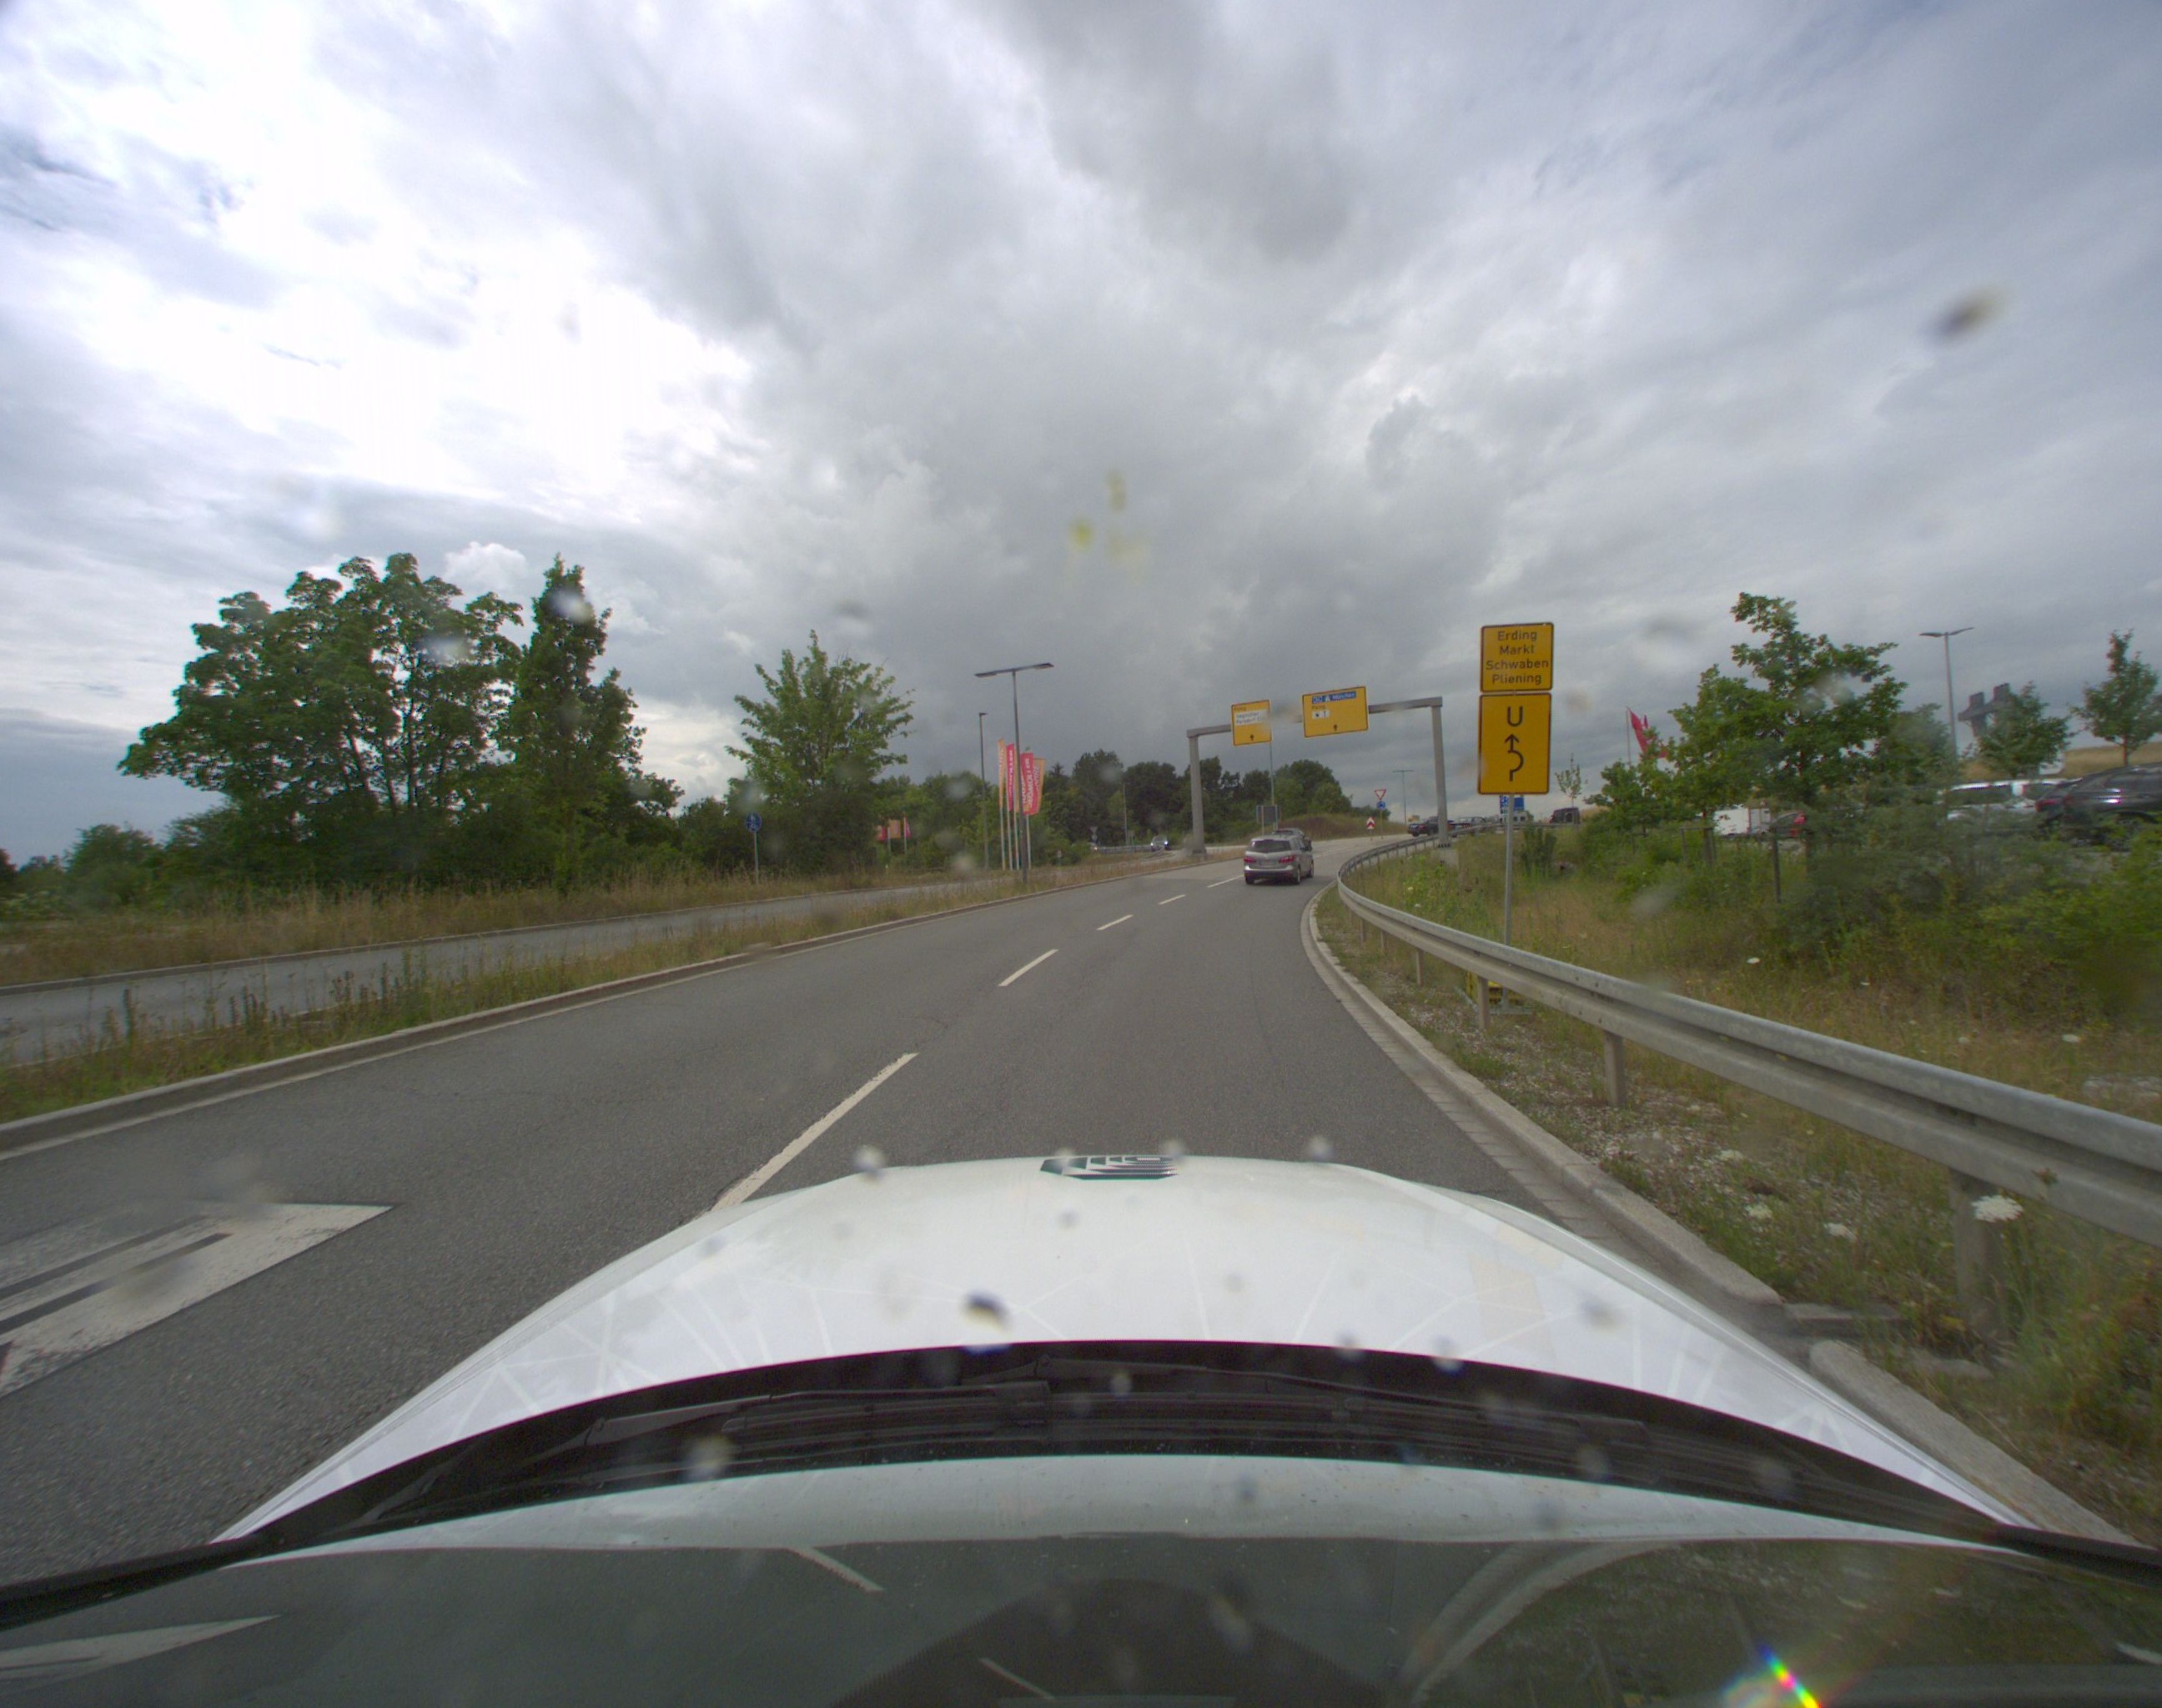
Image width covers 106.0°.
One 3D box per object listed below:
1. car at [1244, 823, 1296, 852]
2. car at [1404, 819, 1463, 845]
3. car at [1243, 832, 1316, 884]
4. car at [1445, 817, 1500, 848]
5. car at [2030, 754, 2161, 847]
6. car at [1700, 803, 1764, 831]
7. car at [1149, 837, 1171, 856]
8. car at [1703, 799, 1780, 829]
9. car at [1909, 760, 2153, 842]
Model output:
[{"bbox_3d":[10.781,-0.952,46.279,1.851,1.605,3.758,1,2,30],"label":"car"},{"bbox_3d":[27.479,-1.699,63.516,4.165,1.783,1.886,-4,0,-26],"label":"car"},{"bbox_3d":[6.775,0.079,27.578,1.751,1.616,3.944,0,2,23],"label":"car"},{"bbox_3d":[25.921,-1.445,53.899,3.977,1.837,1.640,-4,0,-39],"label":"car"},{"bbox_3d":[22.245,-1.186,15.843,1.835,1.734,4.513,-4,-1,-24],"label":"car"},{"bbox_3d":[54.077,-3.029,67.725,3.998,2.013,1.806,-3,0,36],"label":"car"},{"bbox_3d":[7.799,-0.770,80.370,1.843,1.664,4.173,-6,1,8],"label":"car"},{"bbox_3d":[40.498,-2.420,50.013,1.637,1.625,3.577,-3,0,-4],"label":"car"},{"bbox_3d":[27.249,-1.467,23.548,1.836,1.842,4.157,-4,-1,-25],"label":"car"}]
